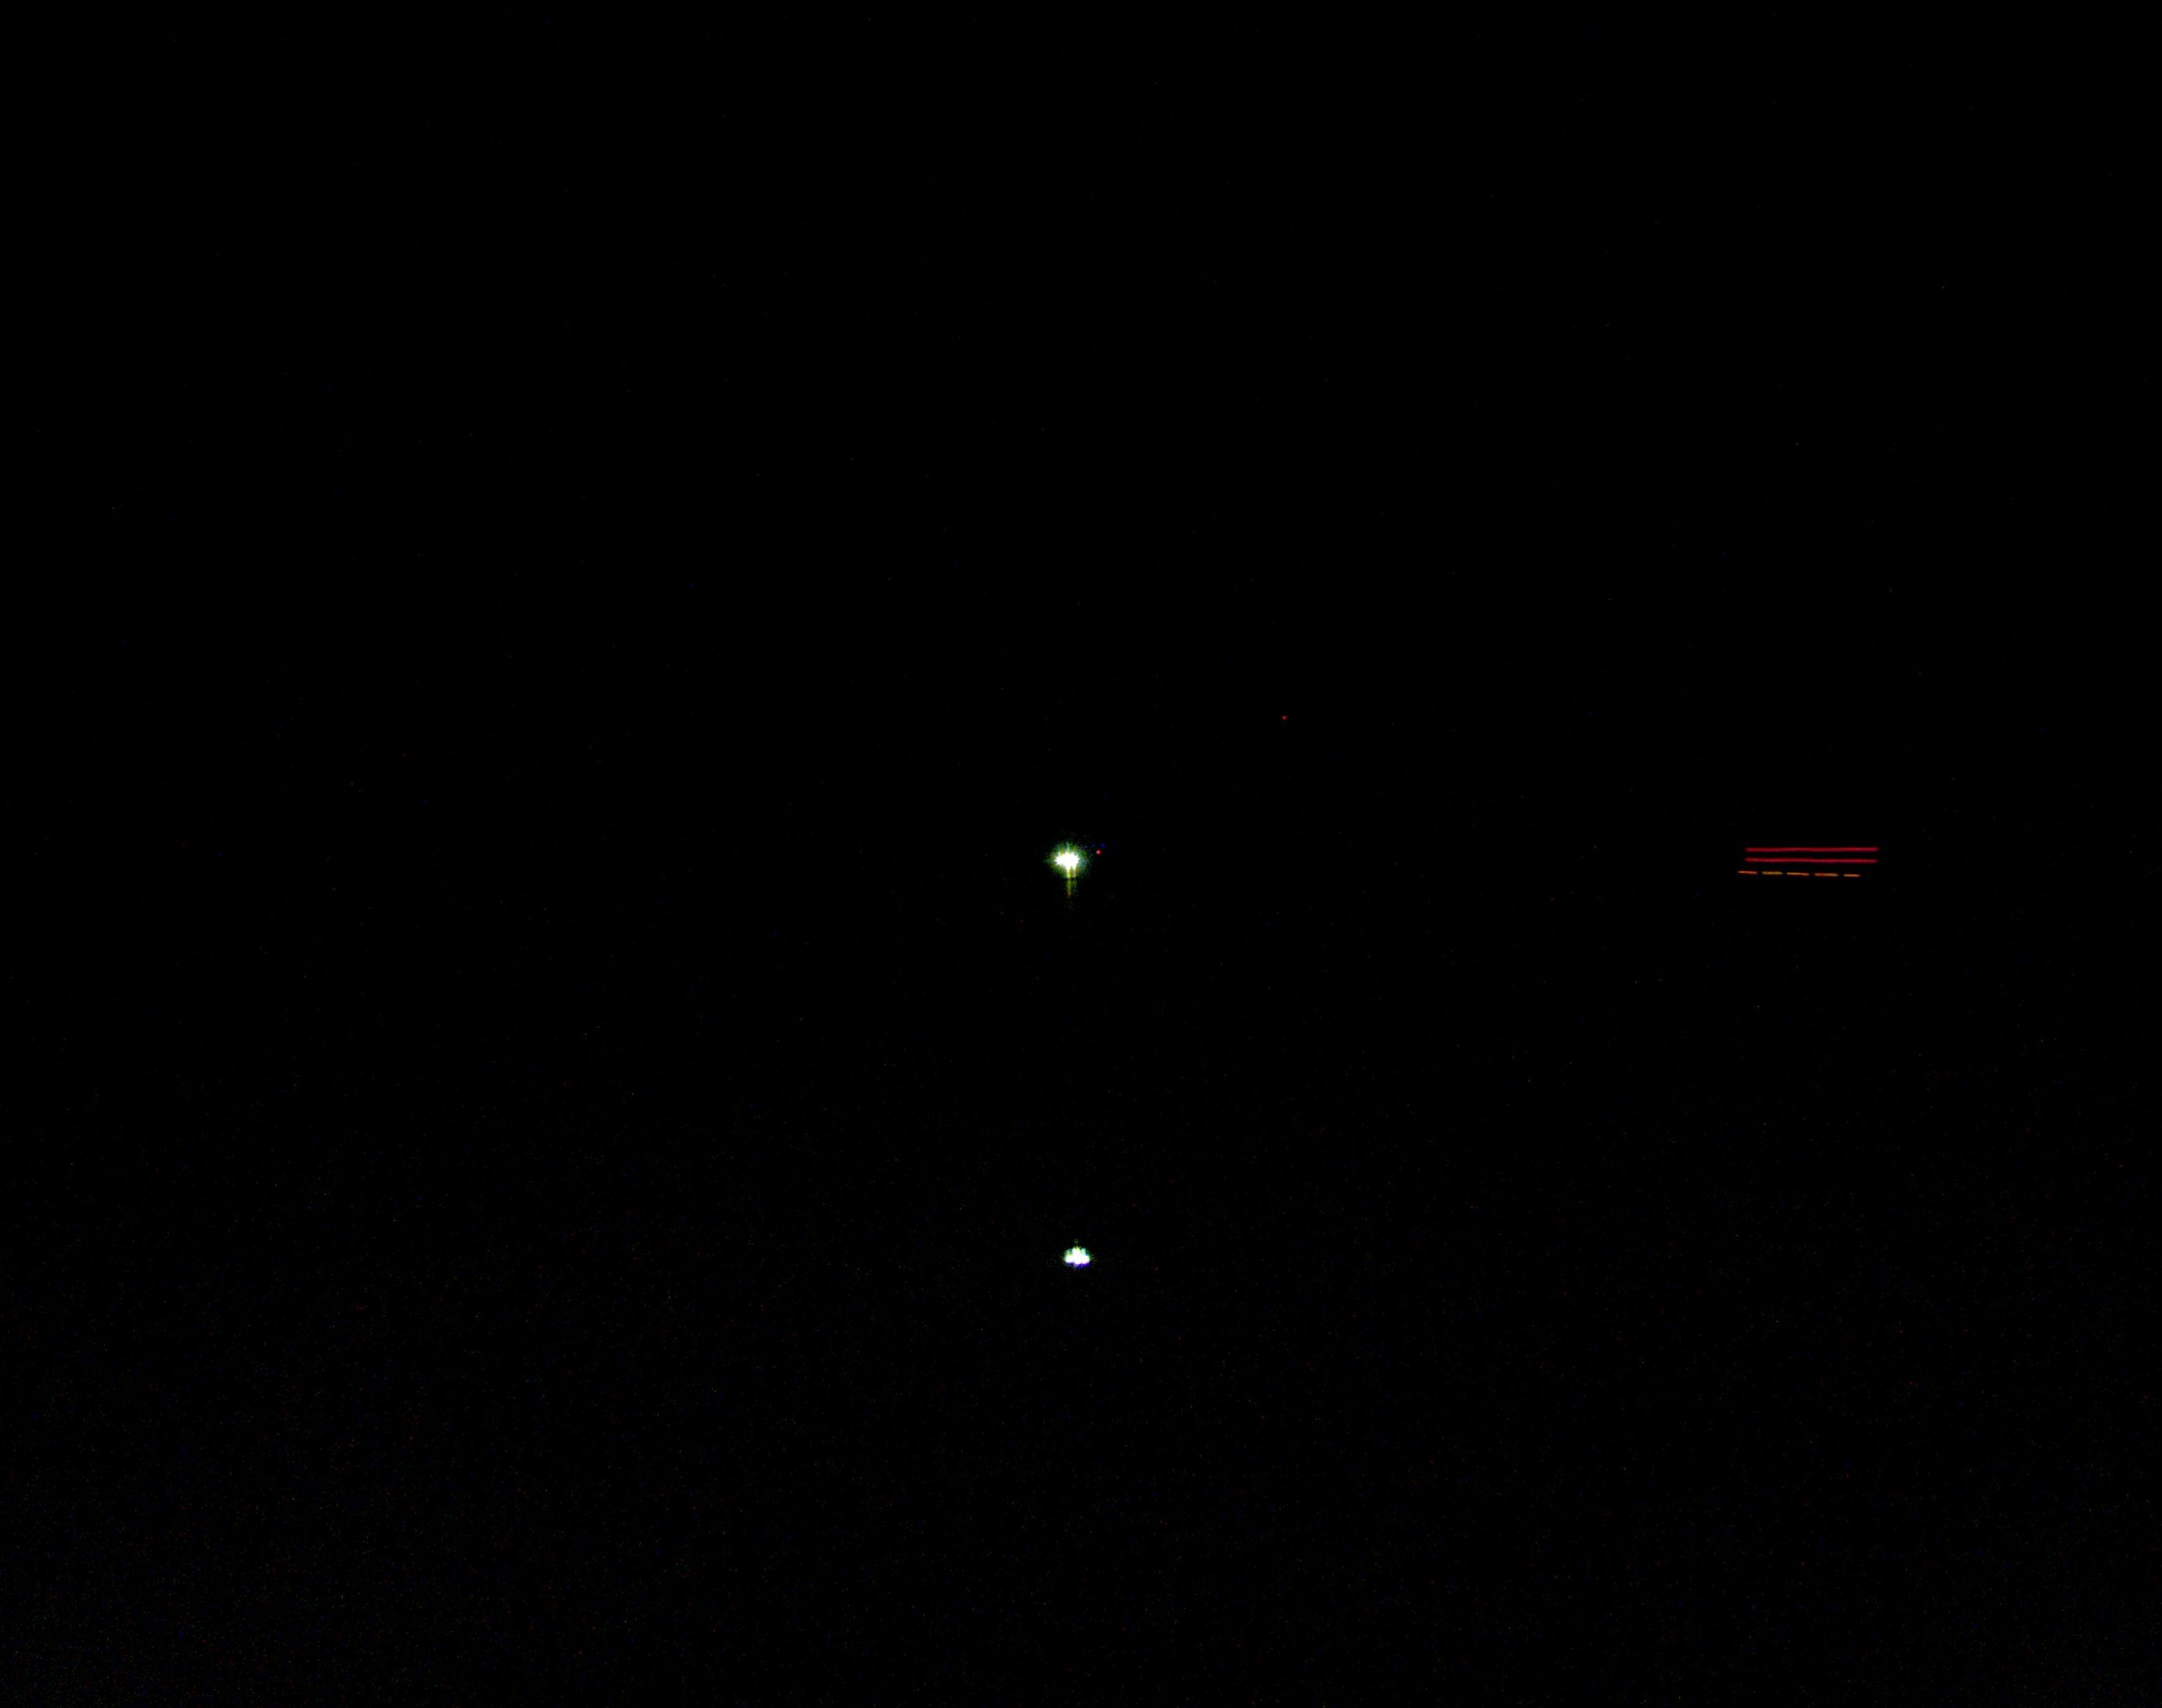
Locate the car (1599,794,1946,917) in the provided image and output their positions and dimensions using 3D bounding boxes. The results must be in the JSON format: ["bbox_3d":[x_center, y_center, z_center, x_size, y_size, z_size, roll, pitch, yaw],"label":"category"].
[{"bbox_3d":[19.077,0.031,21.936,2.961,2.840,7.716,-2,0,0],"label":"car"}]

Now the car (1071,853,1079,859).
[{"bbox_3d":[-1.476,0.505,188.765,1.846,1.474,4.293,-3,-1,-1],"label":"car"}]
